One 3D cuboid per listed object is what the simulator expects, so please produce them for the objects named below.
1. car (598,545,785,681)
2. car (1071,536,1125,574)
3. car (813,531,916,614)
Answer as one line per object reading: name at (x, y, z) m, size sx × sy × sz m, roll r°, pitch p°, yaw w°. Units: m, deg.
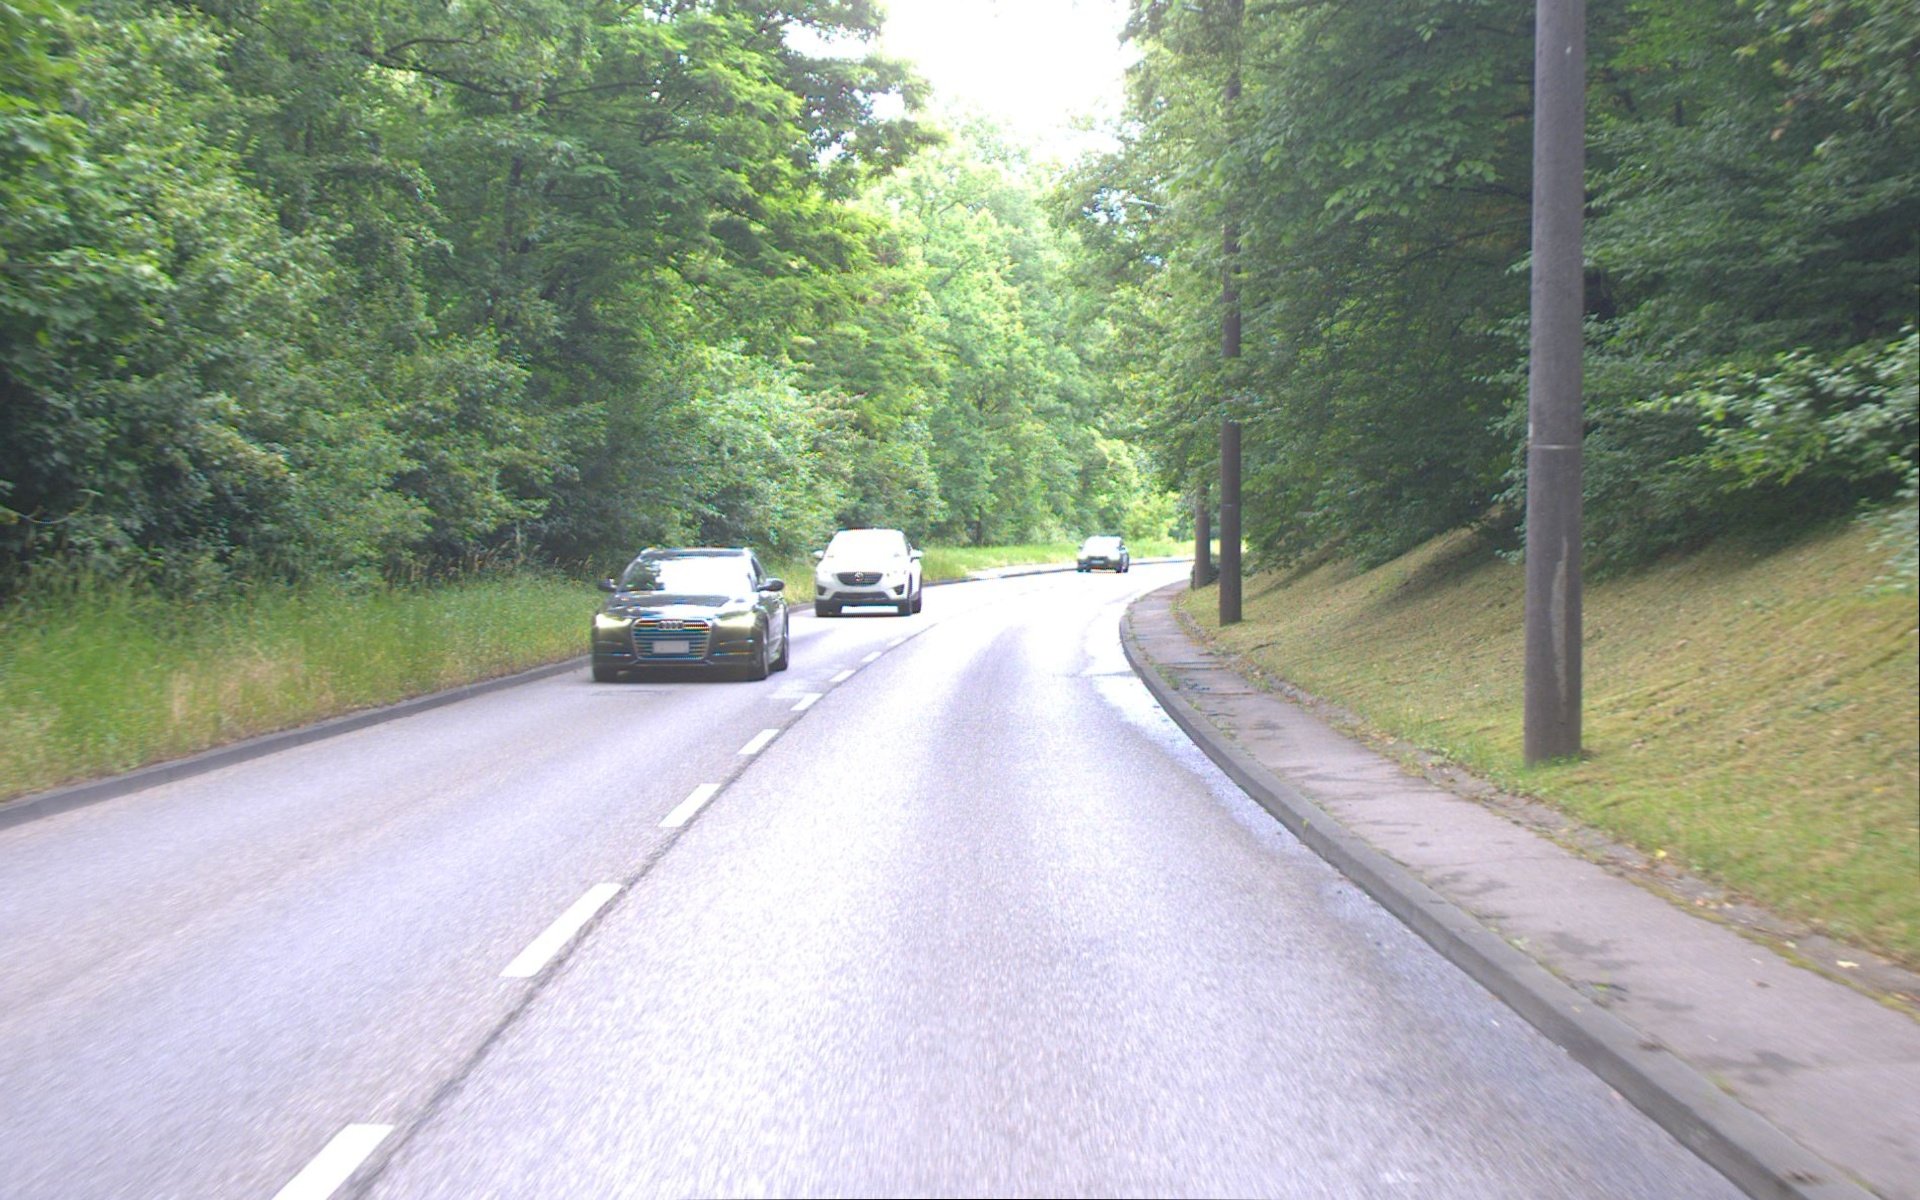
car at (-2.914, 0.102, 37.972) m, size 1.810 × 1.415 × 4.000 m, roll 0°, pitch 1°, yaw -1°
car at (5.645, -1.839, 140.815) m, size 1.993 × 1.537 × 4.000 m, roll 0°, pitch 1°, yaw -1°
car at (-1.844, -0.558, 67.215) m, size 1.942 × 1.576 × 4.441 m, roll 0°, pitch 1°, yaw -1°
